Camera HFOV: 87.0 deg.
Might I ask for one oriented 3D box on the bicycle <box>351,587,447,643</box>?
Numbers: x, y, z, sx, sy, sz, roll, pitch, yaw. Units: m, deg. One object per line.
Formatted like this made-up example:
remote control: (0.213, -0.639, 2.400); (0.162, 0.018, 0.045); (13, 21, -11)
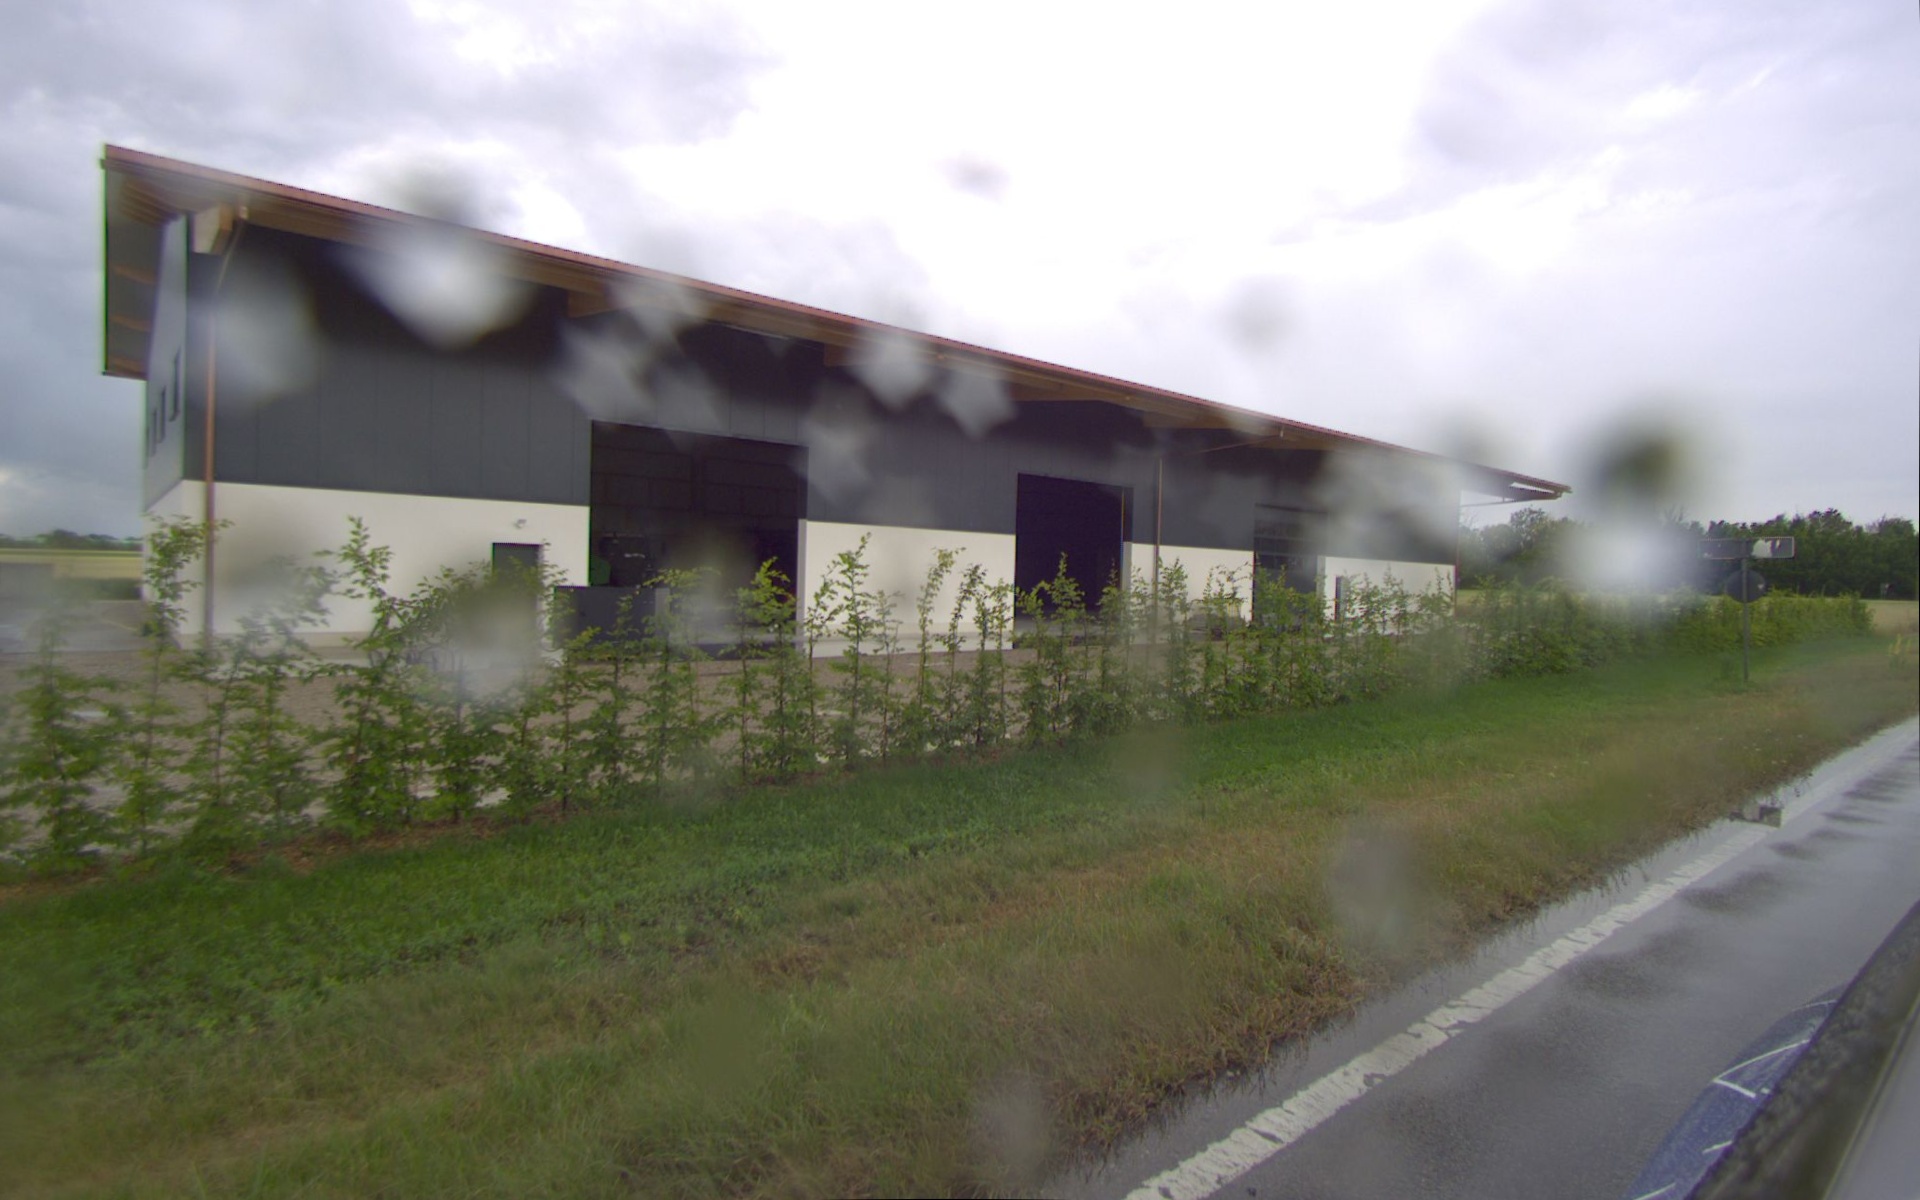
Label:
bicycle: (-11.291, 0.290, 20.394); (1.631, 1.085, 0.391); (0, 2, -41)

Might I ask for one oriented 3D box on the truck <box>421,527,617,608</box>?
truck: (-15.561, -1.112, 35.960); (6.047, 2.639, 2.122); (0, 2, -40)
